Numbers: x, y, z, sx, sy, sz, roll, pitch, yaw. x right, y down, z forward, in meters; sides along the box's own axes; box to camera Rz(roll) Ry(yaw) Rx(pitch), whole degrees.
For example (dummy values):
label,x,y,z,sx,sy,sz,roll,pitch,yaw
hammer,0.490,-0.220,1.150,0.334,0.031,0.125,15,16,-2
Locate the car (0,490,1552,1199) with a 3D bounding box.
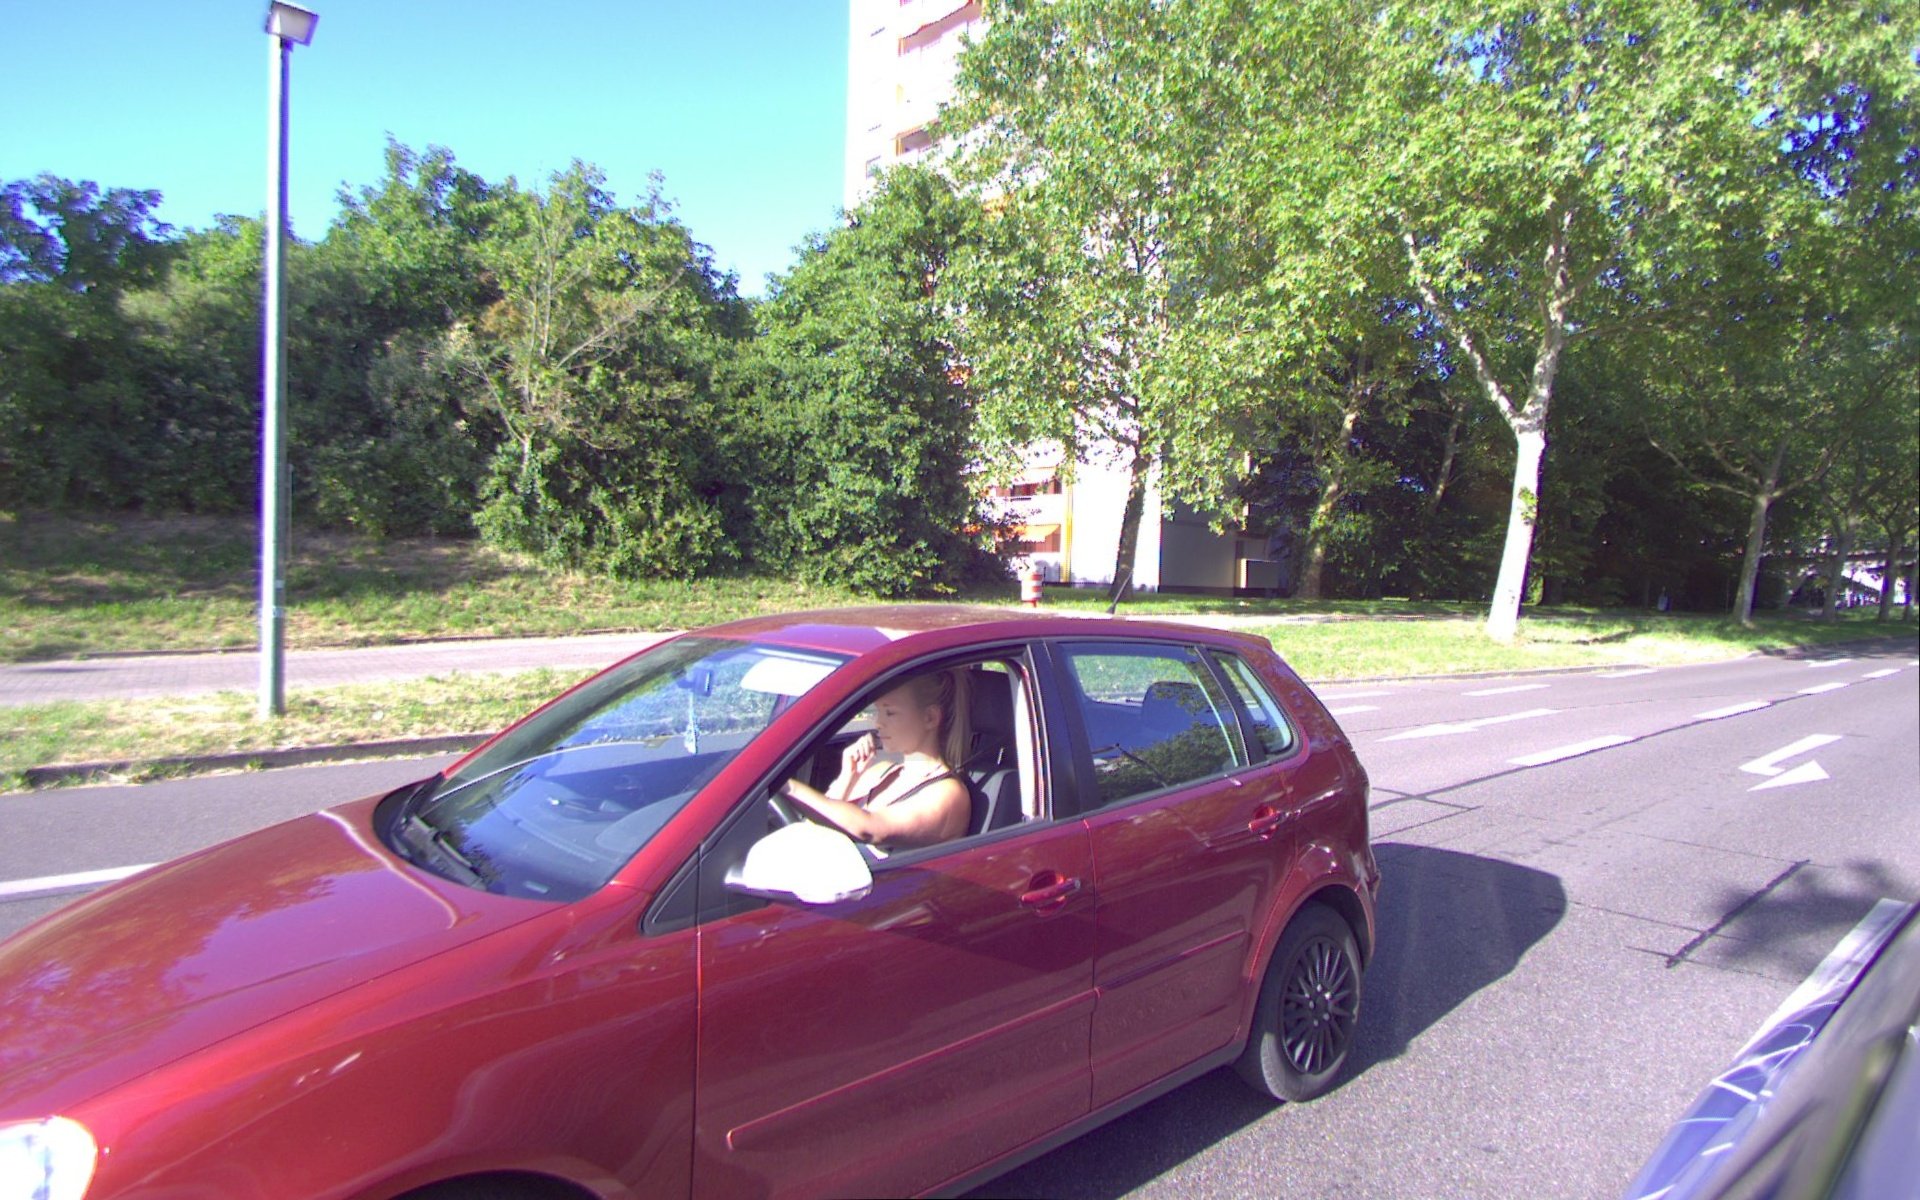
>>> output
label,x,y,z,sx,sy,sz,roll,pitch,yaw
car,-0.079,0.655,3.102,4.641,1.578,1.771,0,1,-40
